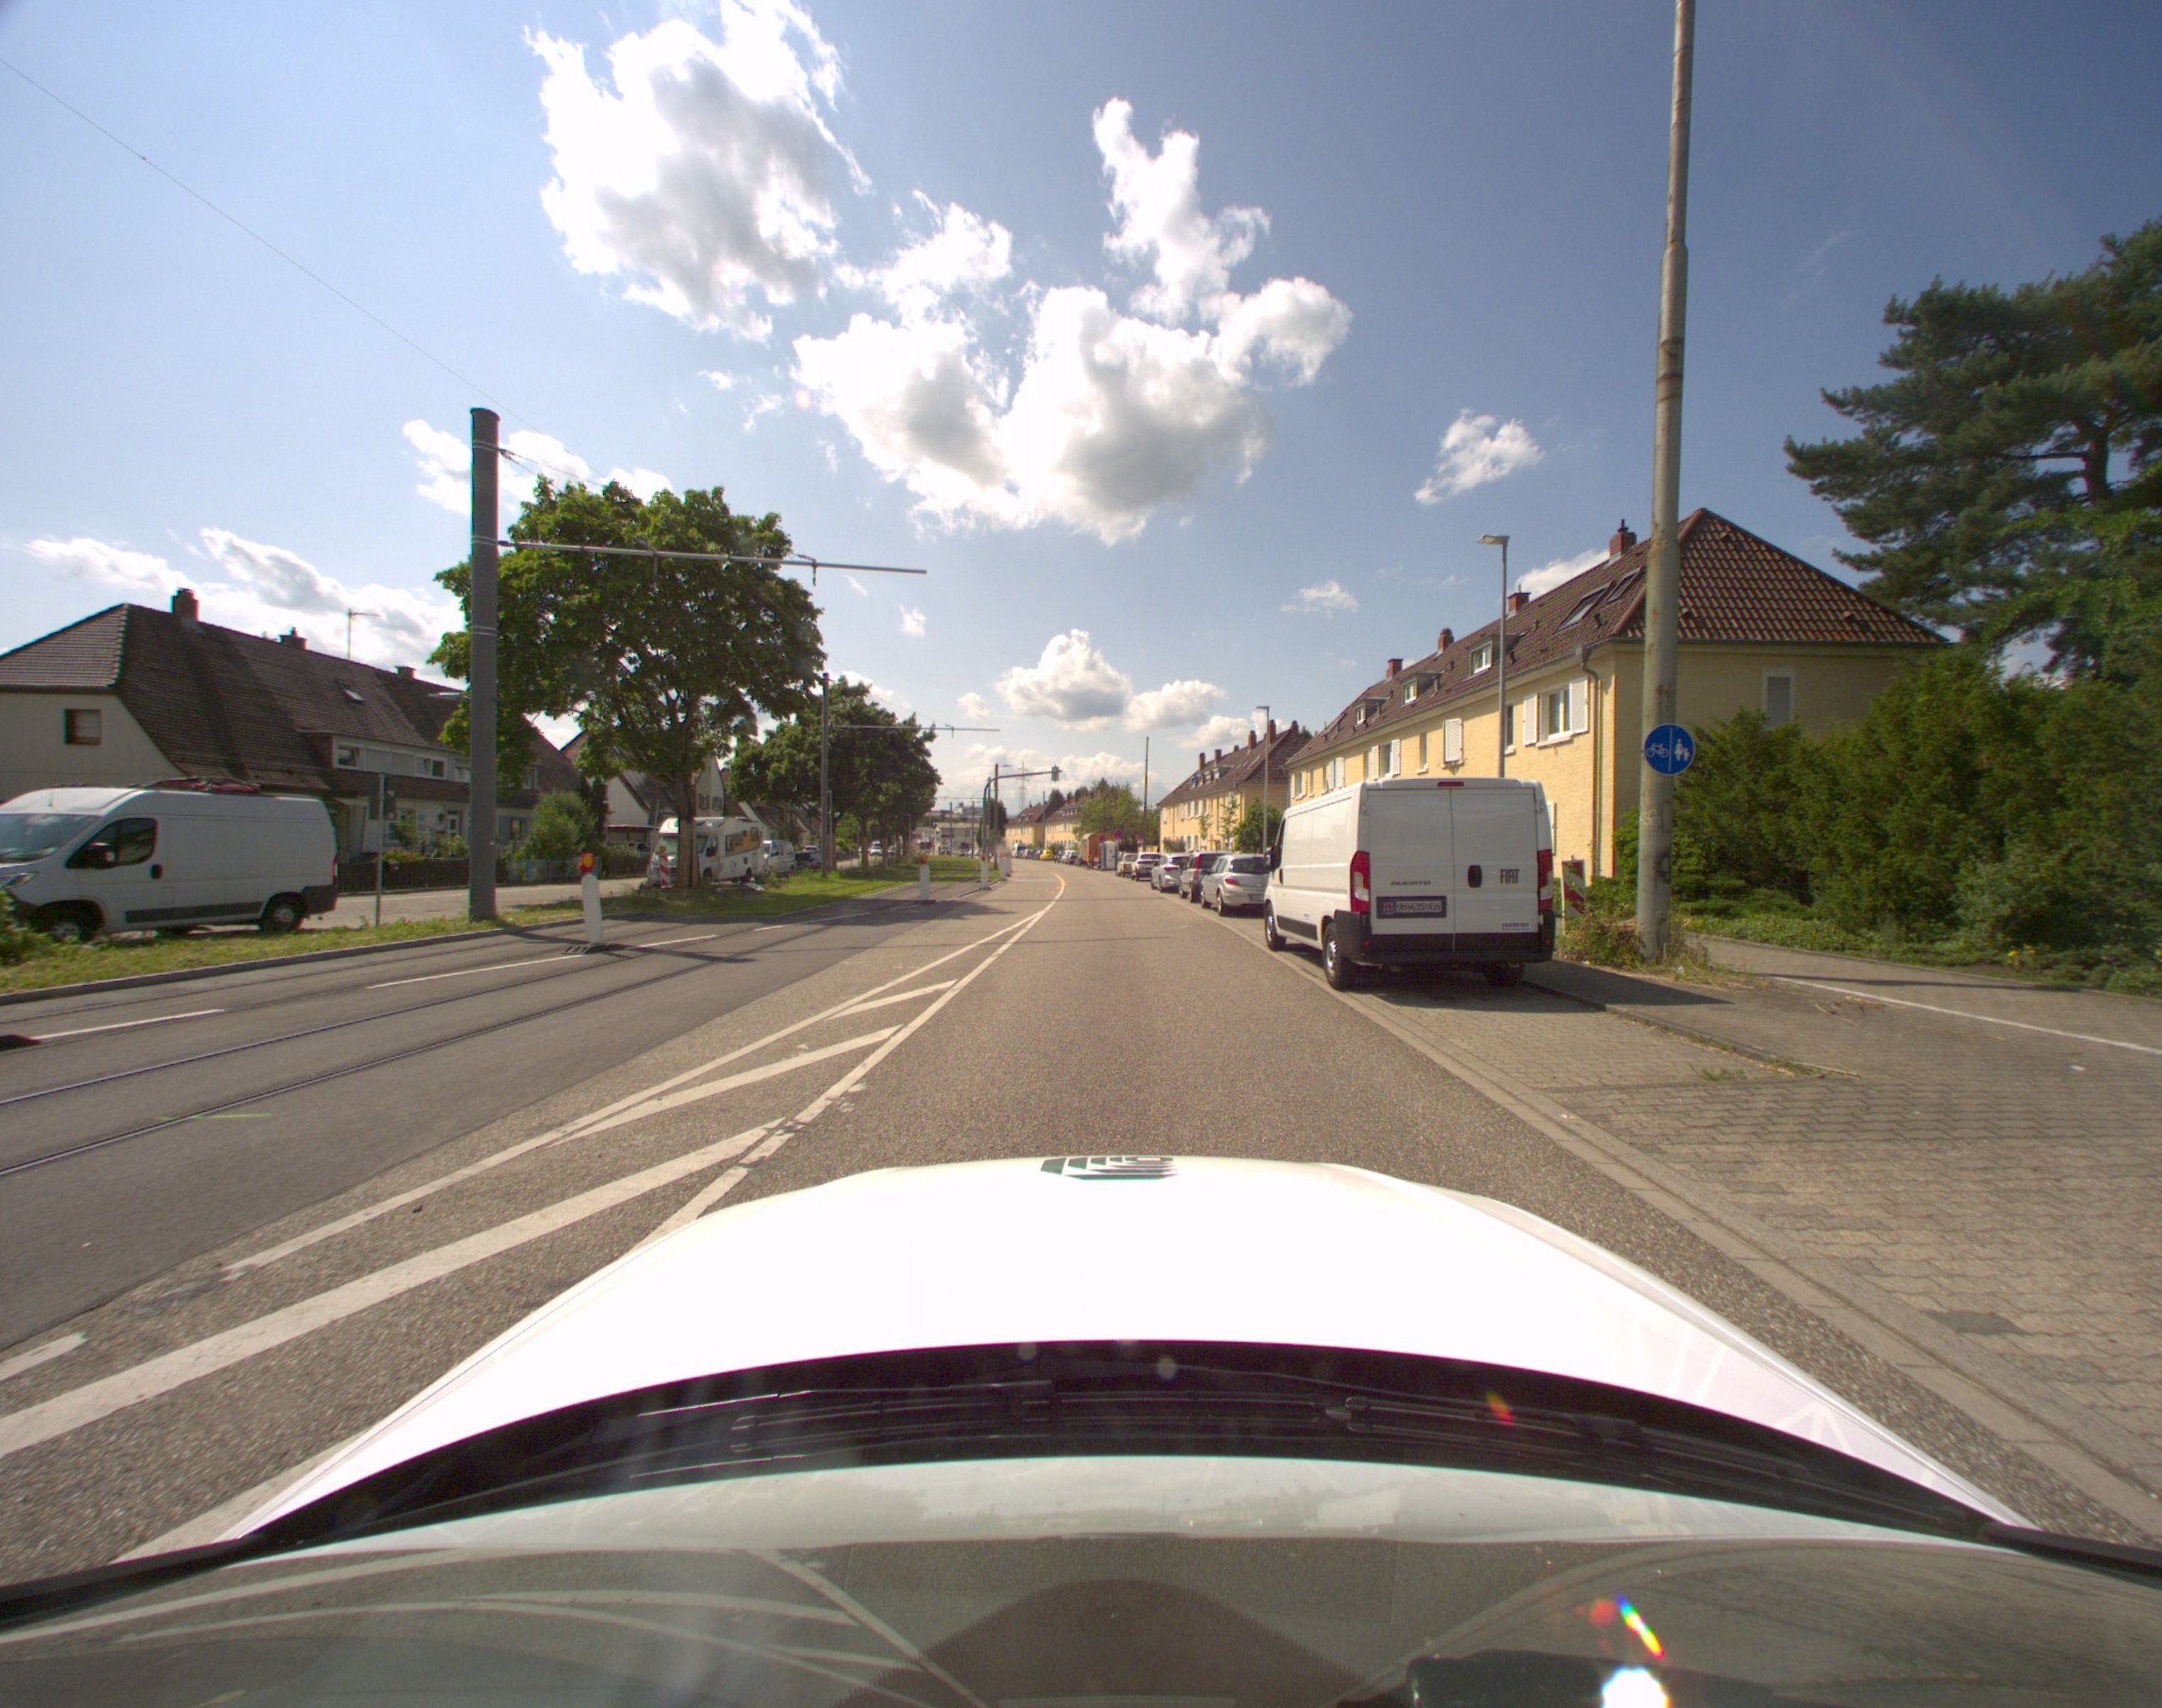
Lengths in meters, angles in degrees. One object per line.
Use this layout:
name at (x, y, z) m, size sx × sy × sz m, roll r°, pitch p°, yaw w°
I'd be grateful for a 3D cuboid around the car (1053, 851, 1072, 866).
car at (-2.236, 0.510, 97.208) m, size 1.549 × 1.641 × 4.230 m, roll 1°, pitch 0°, yaw -11°

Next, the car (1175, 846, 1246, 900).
car at (3.934, 0.552, 25.239) m, size 1.622 × 1.550 × 3.809 m, roll 0°, pitch 0°, yaw 1°

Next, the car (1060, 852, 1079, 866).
car at (-1.287, 0.553, 92.172) m, size 1.576 × 1.513 × 4.447 m, roll 1°, pitch 0°, yaw -8°

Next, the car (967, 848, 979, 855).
car at (-23.244, -0.515, 174.751) m, size 1.769 × 1.439 × 3.975 m, roll -1°, pitch 1°, yaw -18°

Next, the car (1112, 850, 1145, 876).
car at (2.836, 0.508, 49.319) m, size 1.460 × 1.502 × 4.103 m, roll 0°, pitch 0°, yaw -4°

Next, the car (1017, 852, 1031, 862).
car at (-8.992, 0.433, 128.361) m, size 1.538 × 1.445 × 3.720 m, roll 1°, pitch 0°, yaw -14°

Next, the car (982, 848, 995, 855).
car at (-18.162, -0.471, 159.503) m, size 1.769 × 1.417 × 3.975 m, roll -1°, pitch 1°, yaw -18°

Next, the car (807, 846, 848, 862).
car at (-30.026, 0.024, 96.728) m, size 4.475 × 1.836 × 2.056 m, roll 1°, pitch 0°, yaw -14°

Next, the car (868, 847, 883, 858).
car at (-35.319, -0.272, 140.118) m, size 1.880 × 1.768 × 5.069 m, roll 1°, pitch 0°, yaw -8°

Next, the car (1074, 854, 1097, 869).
car at (0.385, 0.700, 79.329) m, size 1.576 × 1.449 × 4.440 m, roll 1°, pitch 0°, yaw -8°

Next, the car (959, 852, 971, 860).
car at (-21.692, 0.332, 151.920) m, size 1.727 × 1.389 × 4.100 m, roll 1°, pitch 0°, yaw -15°

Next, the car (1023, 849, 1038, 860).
car at (-7.706, 0.039, 123.743) m, size 1.638 × 1.602 × 4.010 m, roll 1°, pitch 0°, yaw -14°

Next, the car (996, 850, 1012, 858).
car at (-13.745, -0.009, 145.767) m, size 1.804 × 1.458 × 4.734 m, roll -1°, pitch 0°, yaw -19°

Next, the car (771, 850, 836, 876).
car at (-15.571, 0.472, 45.989) m, size 1.845 × 1.387 × 4.810 m, roll 1°, pitch 0°, yaw 2°

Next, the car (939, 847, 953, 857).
car at (-28.643, -0.467, 172.625) m, size 1.961 × 1.966 × 5.259 m, roll 0°, pitch 0°, yaw -19°

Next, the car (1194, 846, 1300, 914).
car at (3.973, 0.581, 20.170) m, size 1.703 × 1.504 × 4.253 m, roll 0°, pitch 0°, yaw -1°

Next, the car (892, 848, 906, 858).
car at (-30.119, -0.162, 134.774) m, size 1.816 × 1.586 × 4.541 m, roll -1°, pitch 1°, yaw -17°

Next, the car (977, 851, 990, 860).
car at (-15.557, 0.210, 130.146) m, size 1.666 × 1.449 × 3.944 m, roll -2°, pitch 0°, yaw -11°

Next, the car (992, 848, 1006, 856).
car at (-15.226, -0.378, 151.048) m, size 1.625 × 1.417 × 3.975 m, roll -1°, pitch 1°, yaw -18°

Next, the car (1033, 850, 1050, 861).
car at (-5.632, 0.150, 114.520) m, size 1.638 × 1.482 × 4.105 m, roll 1°, pitch 0°, yaw -14°

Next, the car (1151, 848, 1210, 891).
car at (3.698, 0.550, 30.979) m, size 1.744 × 1.497 × 4.385 m, roll 0°, pitch 0°, yaw 1°

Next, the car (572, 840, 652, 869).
car at (-29.920, 0.010, 52.079) m, size 3.984 × 1.737 × 1.794 m, roll 1°, pitch 0°, yaw -8°

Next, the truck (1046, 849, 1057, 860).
truck at (-4.753, 0.050, 132.515) m, size 1.348 × 1.688 × 2.429 m, roll 0°, pitch 0°, yaw -14°

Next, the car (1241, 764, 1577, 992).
car at (3.771, 0.222, 11.008) m, size 2.267 × 2.182 × 6.372 m, roll 0°, pitch 0°, yaw 3°

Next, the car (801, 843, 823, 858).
car at (-28.359, -0.376, 86.068) m, size 1.729 × 1.517 × 4.028 m, roll 1°, pitch 0°, yaw -12°

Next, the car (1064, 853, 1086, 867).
car at (-0.662, 0.608, 87.125) m, size 1.706 × 1.449 × 4.821 m, roll 1°, pitch 0°, yaw -8°

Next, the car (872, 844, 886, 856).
car at (-44.752, -0.910, 180.345) m, size 2.082 × 2.721 × 6.950 m, roll -1°, pitch 1°, yaw -22°

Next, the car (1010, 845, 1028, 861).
car at (-10.216, -0.146, 133.561) m, size 1.933 × 2.481 × 5.489 m, roll 0°, pitch 0°, yaw -15°

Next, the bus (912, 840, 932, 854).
bus at (-40.143, -1.753, 205.777) m, size 2.647 × 3.412 × 12.158 m, roll -1°, pitch 1°, yaw -22°

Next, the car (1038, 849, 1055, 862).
car at (-4.587, 0.185, 109.377) m, size 1.637 × 1.482 × 3.916 m, roll -2°, pitch 1°, yaw -12°

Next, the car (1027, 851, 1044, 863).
car at (-6.732, 0.422, 119.876) m, size 1.639 × 1.602 × 3.910 m, roll 1°, pitch 0°, yaw -16°

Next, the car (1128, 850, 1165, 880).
car at (3.392, 0.543, 42.913) m, size 1.523 × 1.481 × 3.807 m, roll 0°, pitch 0°, yaw -2°

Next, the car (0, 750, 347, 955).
car at (-15.049, -0.027, 12.971) m, size 2.146 × 2.668 × 4.916 m, roll 1°, pitch 0°, yaw 1°

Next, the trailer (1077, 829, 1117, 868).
trailer at (1.342, -0.449, 70.927) m, size 2.688 × 3.226 × 5.069 m, roll 1°, pitch 0°, yaw -7°

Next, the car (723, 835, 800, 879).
car at (-15.563, 0.121, 39.989) m, size 1.988 × 2.013 × 4.900 m, roll 1°, pitch 0°, yaw -2°

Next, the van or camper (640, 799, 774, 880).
van or camper at (-15.106, -0.531, 33.580) m, size 2.370 × 2.970 × 7.289 m, roll 0°, pitch 0°, yaw -2°
